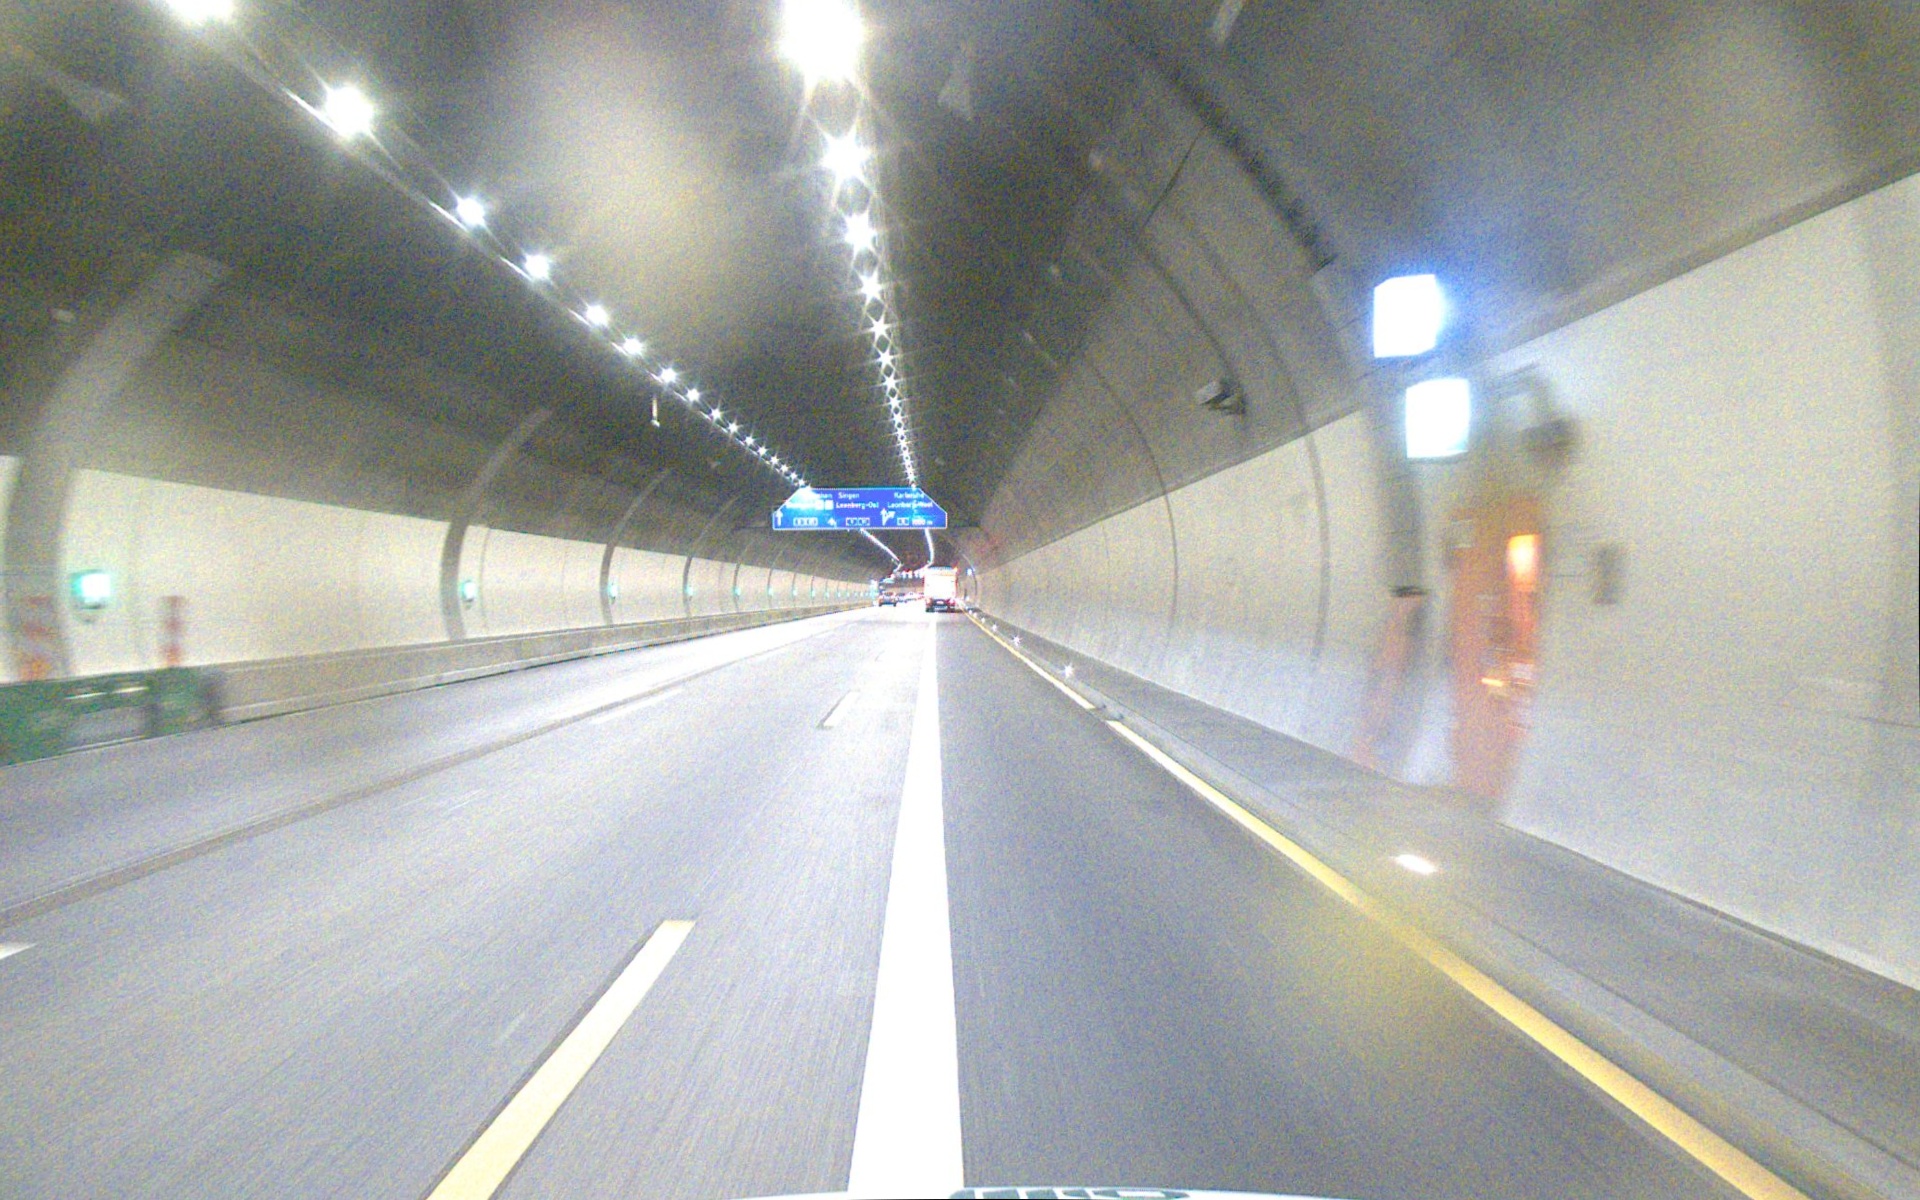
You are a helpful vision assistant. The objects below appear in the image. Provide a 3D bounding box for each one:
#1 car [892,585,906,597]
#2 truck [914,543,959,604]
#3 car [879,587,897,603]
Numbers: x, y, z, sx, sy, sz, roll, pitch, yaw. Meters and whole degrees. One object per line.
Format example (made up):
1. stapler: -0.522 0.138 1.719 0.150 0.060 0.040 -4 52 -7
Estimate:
1. car: -8.614 -1.270 232.154 1.777 1.546 3.997 0 2 -4
2. truck: -2.130 -2.174 139.528 3.213 4.731 17.278 -1 1 -3
3. car: -7.615 -0.511 174.447 1.776 1.646 3.998 0 1 -3
